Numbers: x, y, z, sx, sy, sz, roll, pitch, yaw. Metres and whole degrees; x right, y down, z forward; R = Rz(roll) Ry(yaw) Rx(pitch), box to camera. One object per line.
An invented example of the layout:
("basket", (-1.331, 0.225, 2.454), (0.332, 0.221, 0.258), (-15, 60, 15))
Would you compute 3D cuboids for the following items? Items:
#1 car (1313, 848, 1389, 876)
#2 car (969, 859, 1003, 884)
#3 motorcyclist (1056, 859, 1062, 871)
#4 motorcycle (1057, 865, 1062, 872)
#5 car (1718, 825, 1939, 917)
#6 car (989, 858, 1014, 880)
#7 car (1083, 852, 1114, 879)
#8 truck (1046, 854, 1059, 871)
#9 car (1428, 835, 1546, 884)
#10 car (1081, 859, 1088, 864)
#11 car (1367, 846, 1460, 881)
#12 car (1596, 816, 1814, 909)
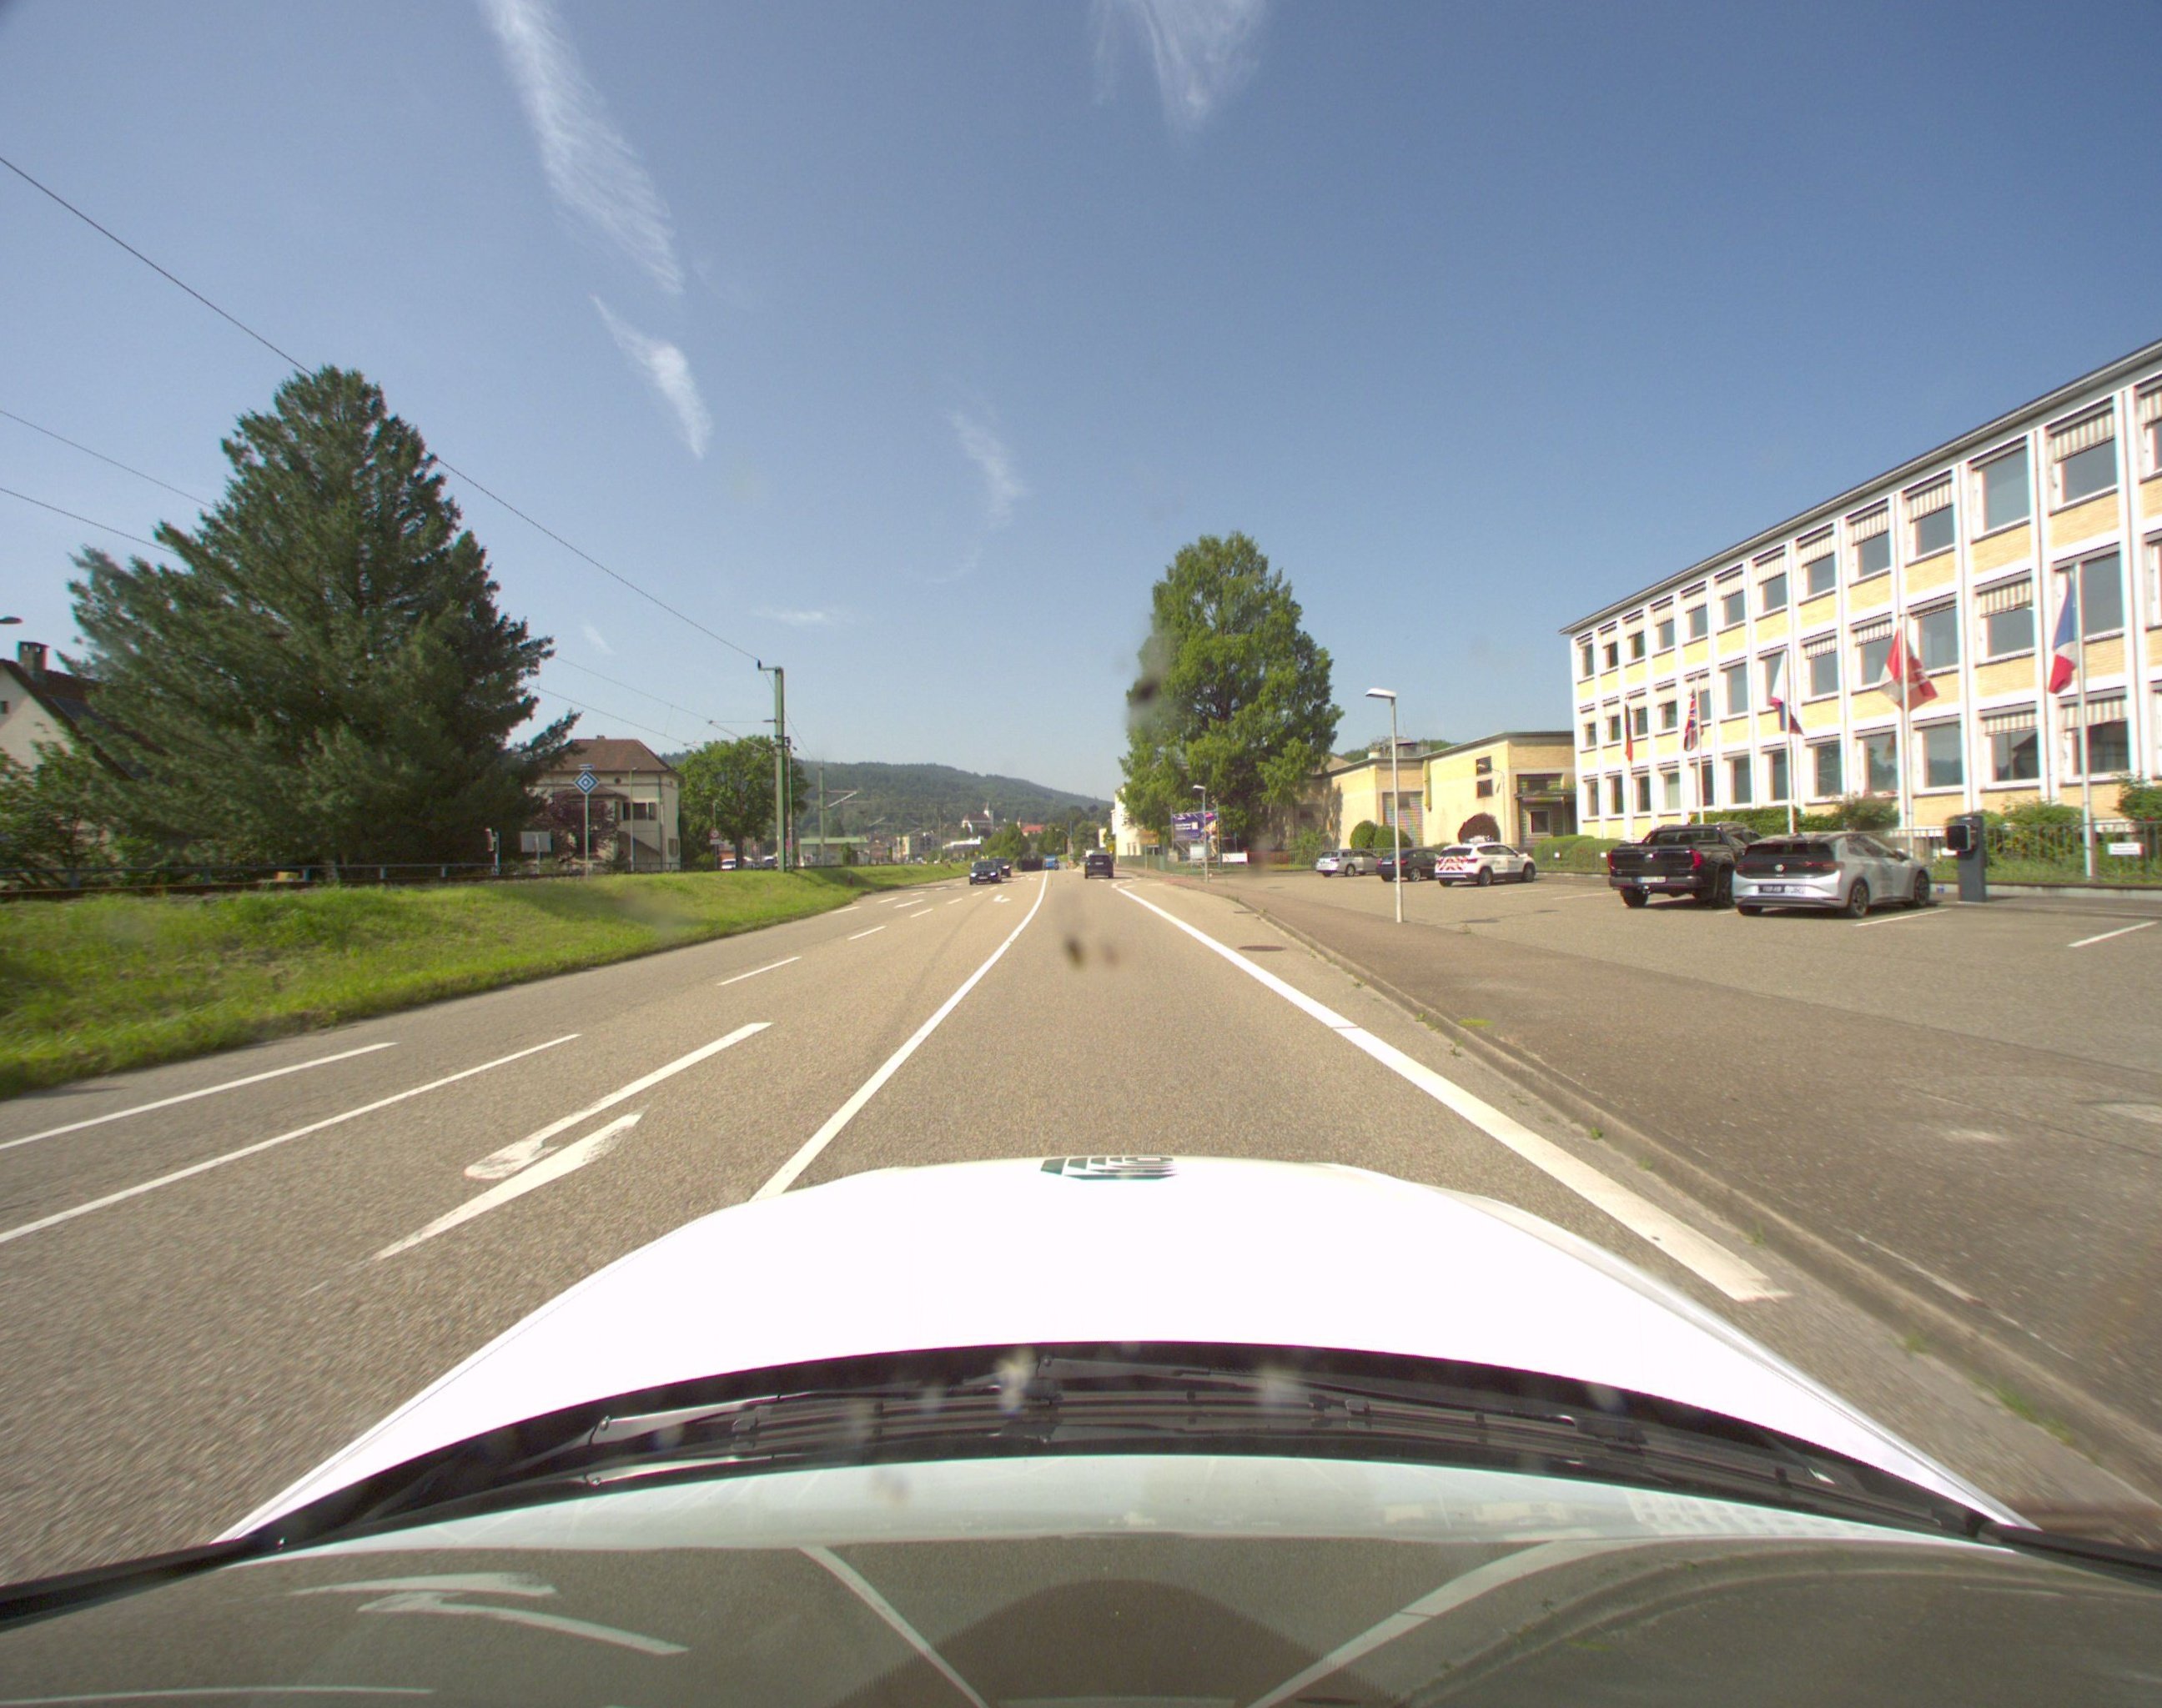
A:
("car", (14.550, 0.419, 43.877), (4.013, 1.401, 1.648), (-2, 0, -31))
("car", (-5.877, 1.086, 50.589), (1.751, 1.429, 3.997), (-2, 0, -2))
("motorcyclist", (-2.689, 1.368, 100.194), (0.604, 1.520, 0.863), (-2, 0, 0))
("motorcycle", (-2.643, 1.770, 100.187), (0.604, 0.753, 1.414), (-2, 0, 0))
("car", (14.272, 0.266, 15.528), (4.010, 1.505, 1.869), (-2, 0, -29))
("car", (-6.325, 1.182, 64.869), (1.751, 1.640, 3.996), (-2, 0, -3))
("car", (1.136, 0.756, 53.730), (1.913, 1.640, 4.000), (-2, 0, 0))
("truck", (-5.313, 1.578, 151.513), (2.307, 2.970, 5.961), (-2, 0, -2))
("car", (15.065, 0.178, 30.154), (4.185, 1.672, 1.852), (-2, 0, -29))
("car", (1.039, 2.017, 219.888), (1.760, 1.486, 4.001), (-1, -1, 2))
("car", (14.562, 0.396, 35.632), (4.013, 1.401, 1.648), (-2, 0, -31))
("car", (14.077, 0.132, 18.307), (5.050, 1.832, 1.964), (-2, 0, -29))
